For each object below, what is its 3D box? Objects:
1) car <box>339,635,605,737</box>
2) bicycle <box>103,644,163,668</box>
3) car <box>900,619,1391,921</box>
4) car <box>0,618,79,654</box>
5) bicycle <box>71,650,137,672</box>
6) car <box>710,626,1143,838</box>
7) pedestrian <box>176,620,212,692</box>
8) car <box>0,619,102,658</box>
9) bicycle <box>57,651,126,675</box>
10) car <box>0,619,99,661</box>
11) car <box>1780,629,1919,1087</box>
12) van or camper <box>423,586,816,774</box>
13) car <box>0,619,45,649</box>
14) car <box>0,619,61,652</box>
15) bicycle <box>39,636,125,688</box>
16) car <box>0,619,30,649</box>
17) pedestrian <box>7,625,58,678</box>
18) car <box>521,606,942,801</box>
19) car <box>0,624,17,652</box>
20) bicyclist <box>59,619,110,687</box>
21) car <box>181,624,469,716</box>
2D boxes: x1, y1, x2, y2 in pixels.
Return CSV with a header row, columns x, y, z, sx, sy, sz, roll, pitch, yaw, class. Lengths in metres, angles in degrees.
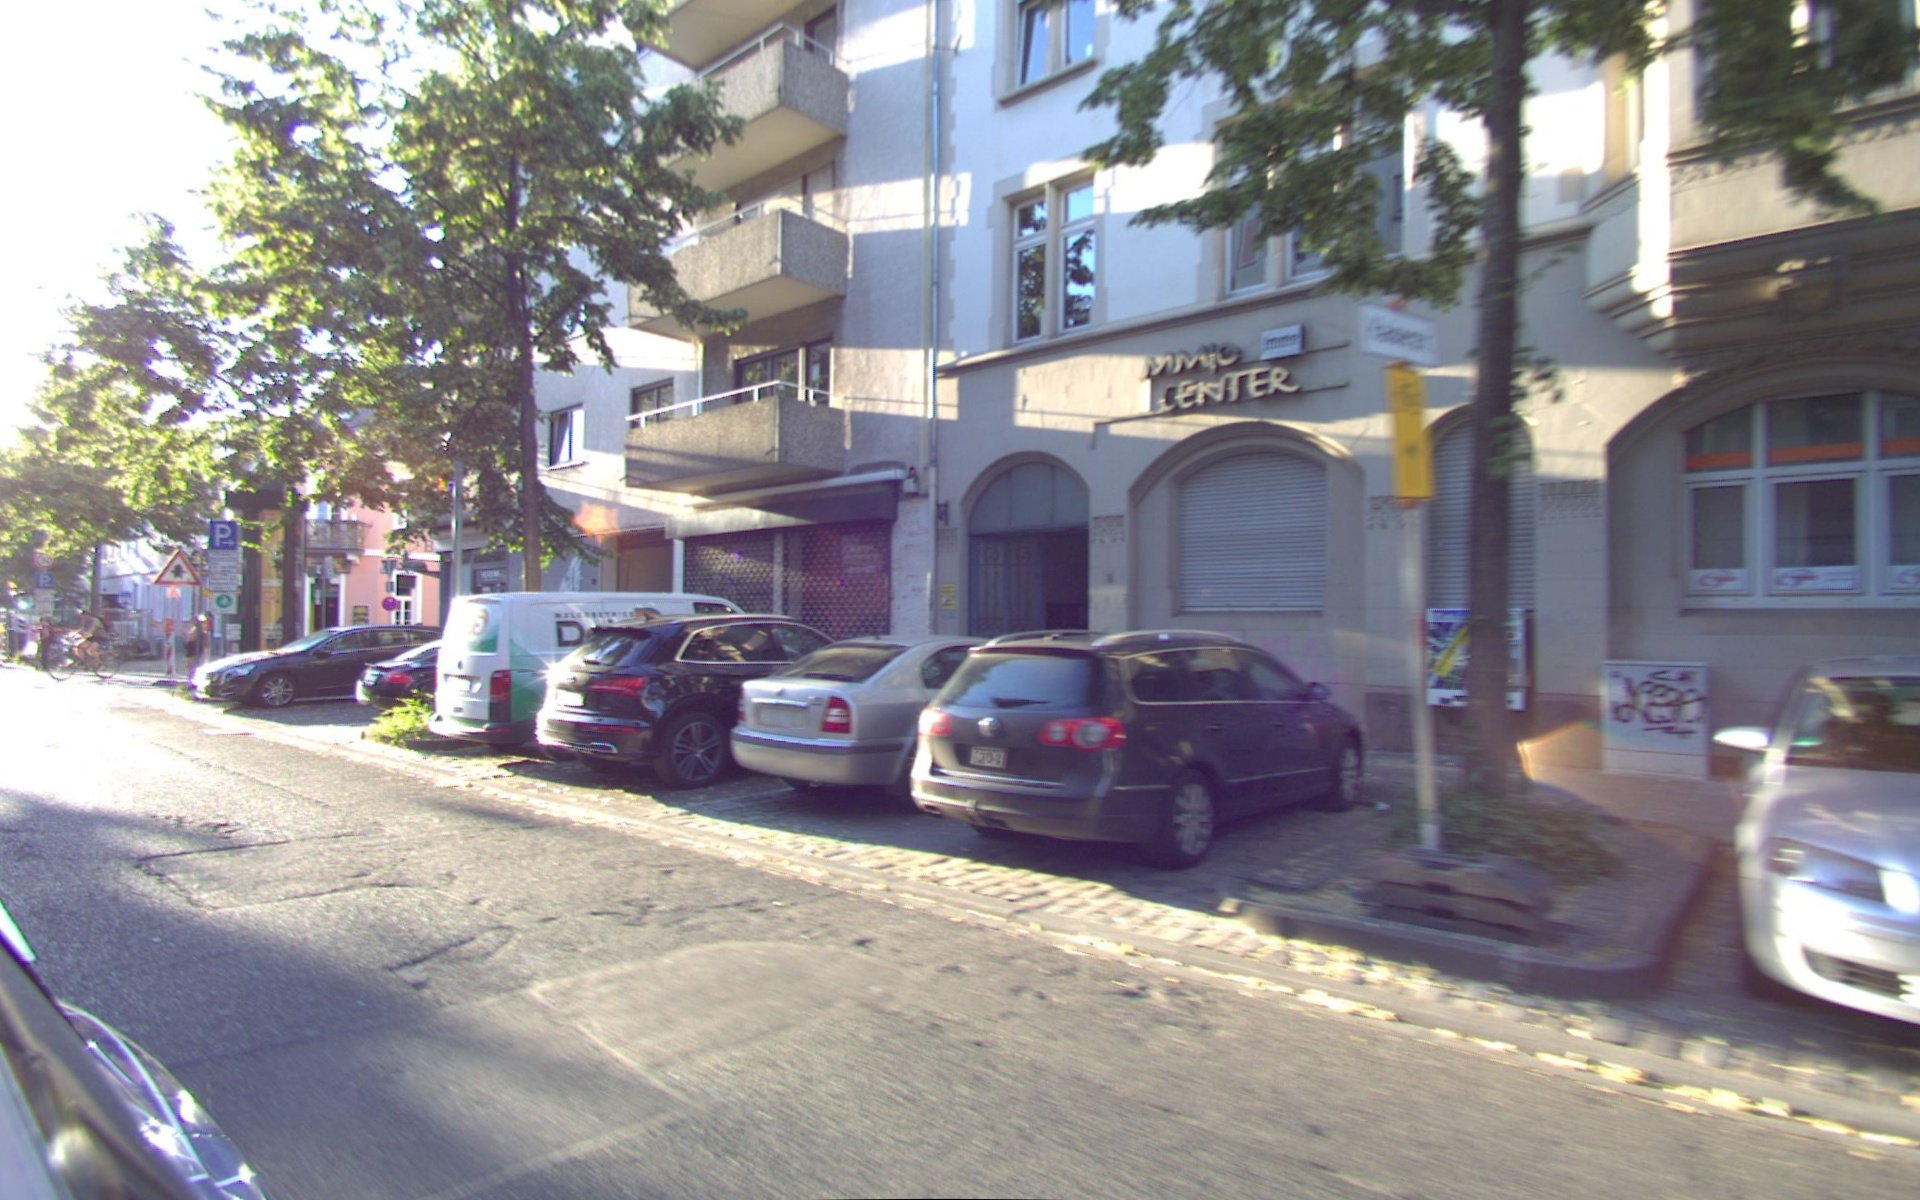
x,y,z,sx,sy,sz,roll,pitch,yaw,class
-7.728,1.285,16.237,1.513,1.424,3.535,-1,-2,43,car
-31.235,2.098,38.242,0.441,0.870,1.789,0,-2,17,bicycle
1.615,0.940,7.527,1.743,1.548,4.139,0,-1,41,car
-49.903,1.904,53.831,1.813,1.857,4.382,-1,-1,40,car
-30.732,2.186,36.352,1.769,0.771,0.408,1,-2,-36,bicycle
-0.107,1.014,9.514,1.731,1.453,4.139,0,0,41,car
-17.881,1.294,23.630,0.721,1.660,0.542,-2,-2,44,pedestrian
-44.874,1.849,49.361,1.813,1.857,4.382,-1,-1,40,car
-30.157,2.177,35.168,1.769,0.771,0.408,1,-2,-36,bicycle
-42.886,1.819,46.829,1.813,1.857,4.382,-1,-1,40,car
4.825,0.864,4.455,1.742,1.397,4.002,-2,-1,37,car
-4.118,0.898,12.835,1.789,1.971,4.410,-2,-2,42,van or camper
-59.341,2.084,62.214,1.813,1.857,4.382,-1,-1,40,car
-53.580,1.985,56.834,1.813,1.857,4.382,-1,-1,40,car
-23.714,1.660,27.365,0.402,1.353,1.821,0,-2,16,bicycle
-61.422,2.131,63.456,1.813,1.857,4.382,-1,-1,40,car
-30.140,1.649,32.899,0.787,1.693,0.895,0,-2,5,pedestrian
-2.256,0.946,10.852,1.733,1.681,4.137,-1,-2,43,car
-64.297,2.479,65.886,1.826,1.795,4.098,-1,-2,41,car
-23.680,1.411,27.394,0.532,1.807,0.867,0,-2,16,bicyclist
-12.096,1.248,19.538,1.813,1.536,4.382,-1,-1,40,car
